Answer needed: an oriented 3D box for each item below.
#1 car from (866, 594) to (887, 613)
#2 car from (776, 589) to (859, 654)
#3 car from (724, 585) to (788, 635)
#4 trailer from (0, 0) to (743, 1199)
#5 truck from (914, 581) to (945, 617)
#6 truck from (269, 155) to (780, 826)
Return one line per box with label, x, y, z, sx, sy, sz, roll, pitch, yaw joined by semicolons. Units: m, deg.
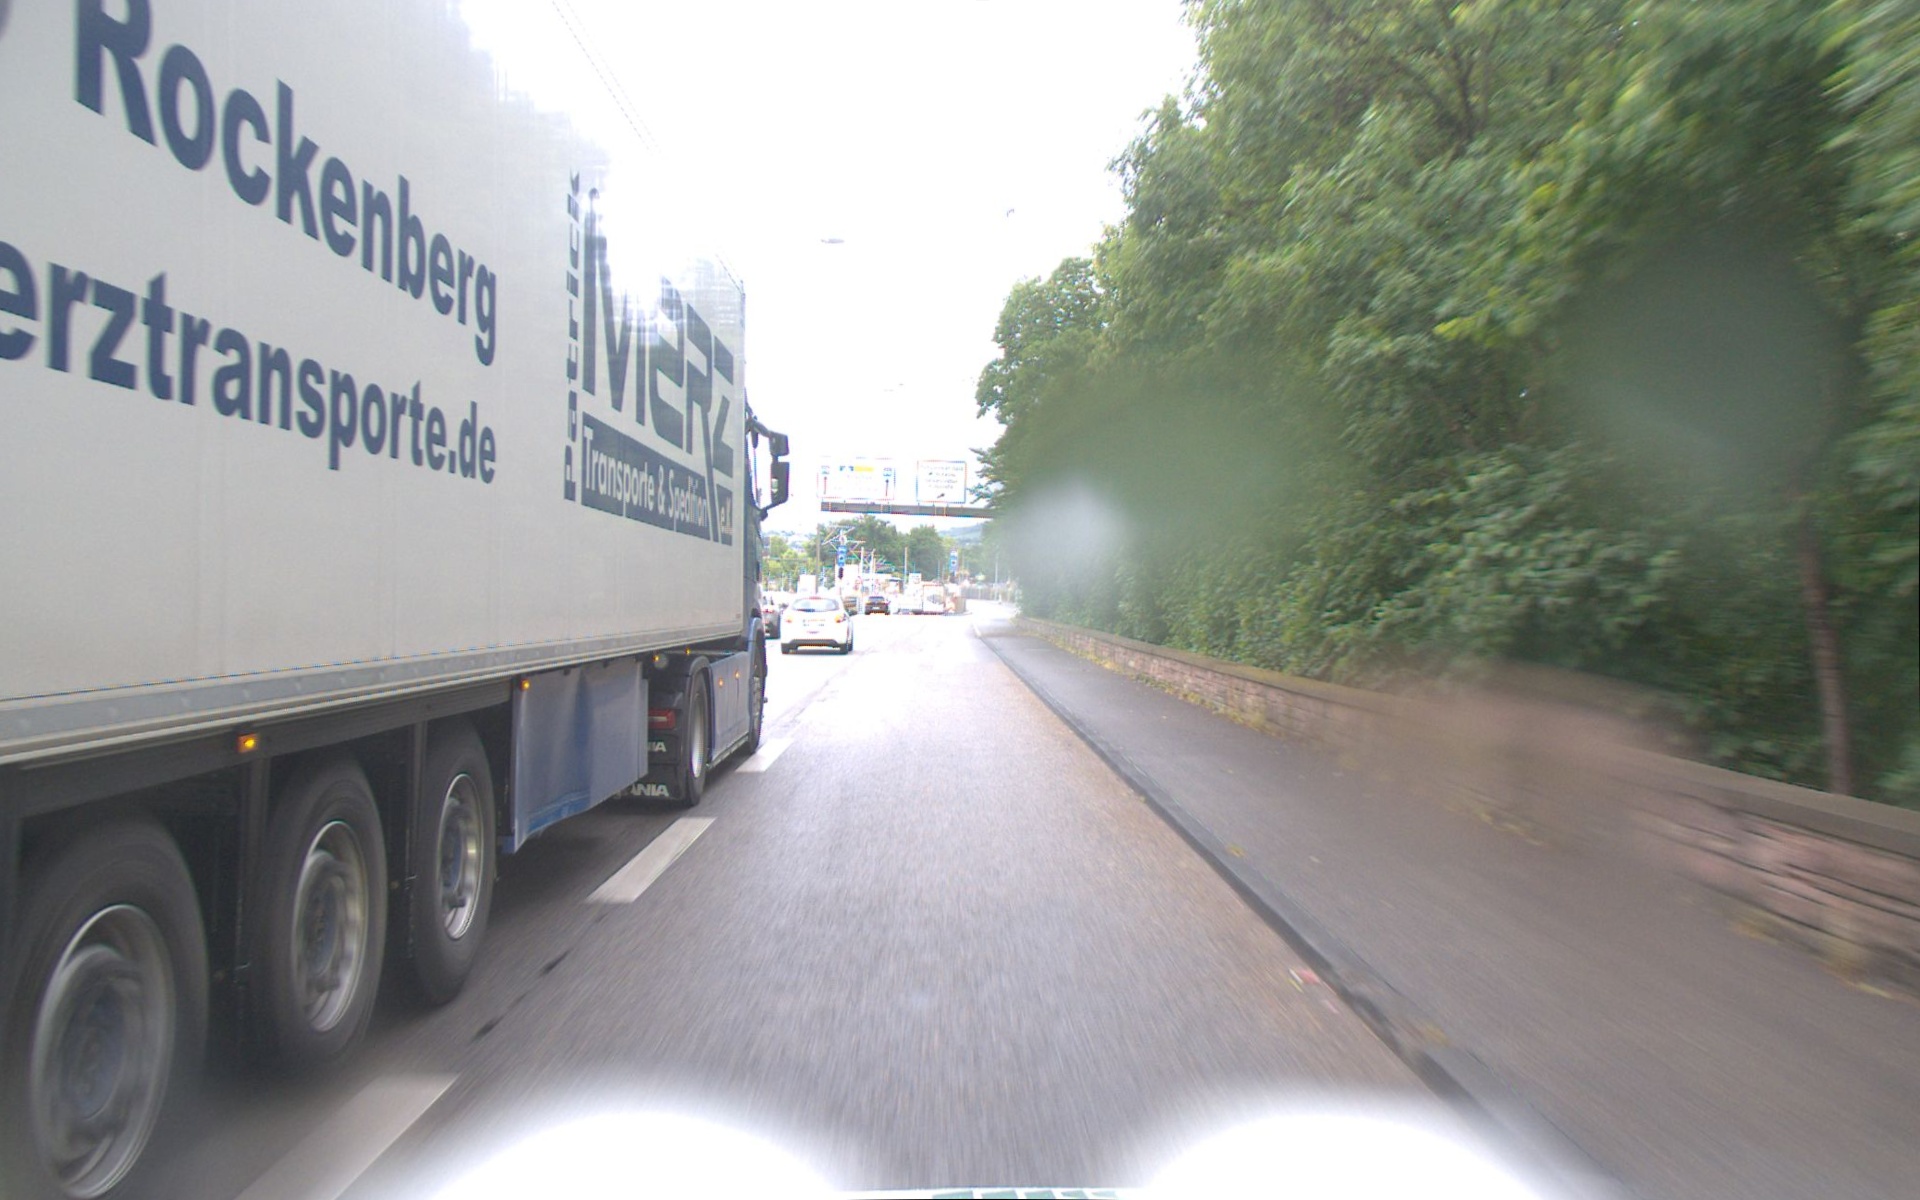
car;-6.171;0.248;122.618;1.397;1.378;2.959;2;0;-1
car;-3.575;0.506;42.089;1.773;1.448;4.000;1;2;-1
car;-6.629;0.292;54.064;1.647;1.471;4.000;1;2;-1
trailer;-2.989;-0.655;6.667;2.706;4.327;13.180;1;0;-1
truck;-3.502;-0.070;193.385;3.447;4.110;8.072;1;0;-1
truck;-3.132;-0.712;13.774;2.700;4.278;6.304;1;0;-2
